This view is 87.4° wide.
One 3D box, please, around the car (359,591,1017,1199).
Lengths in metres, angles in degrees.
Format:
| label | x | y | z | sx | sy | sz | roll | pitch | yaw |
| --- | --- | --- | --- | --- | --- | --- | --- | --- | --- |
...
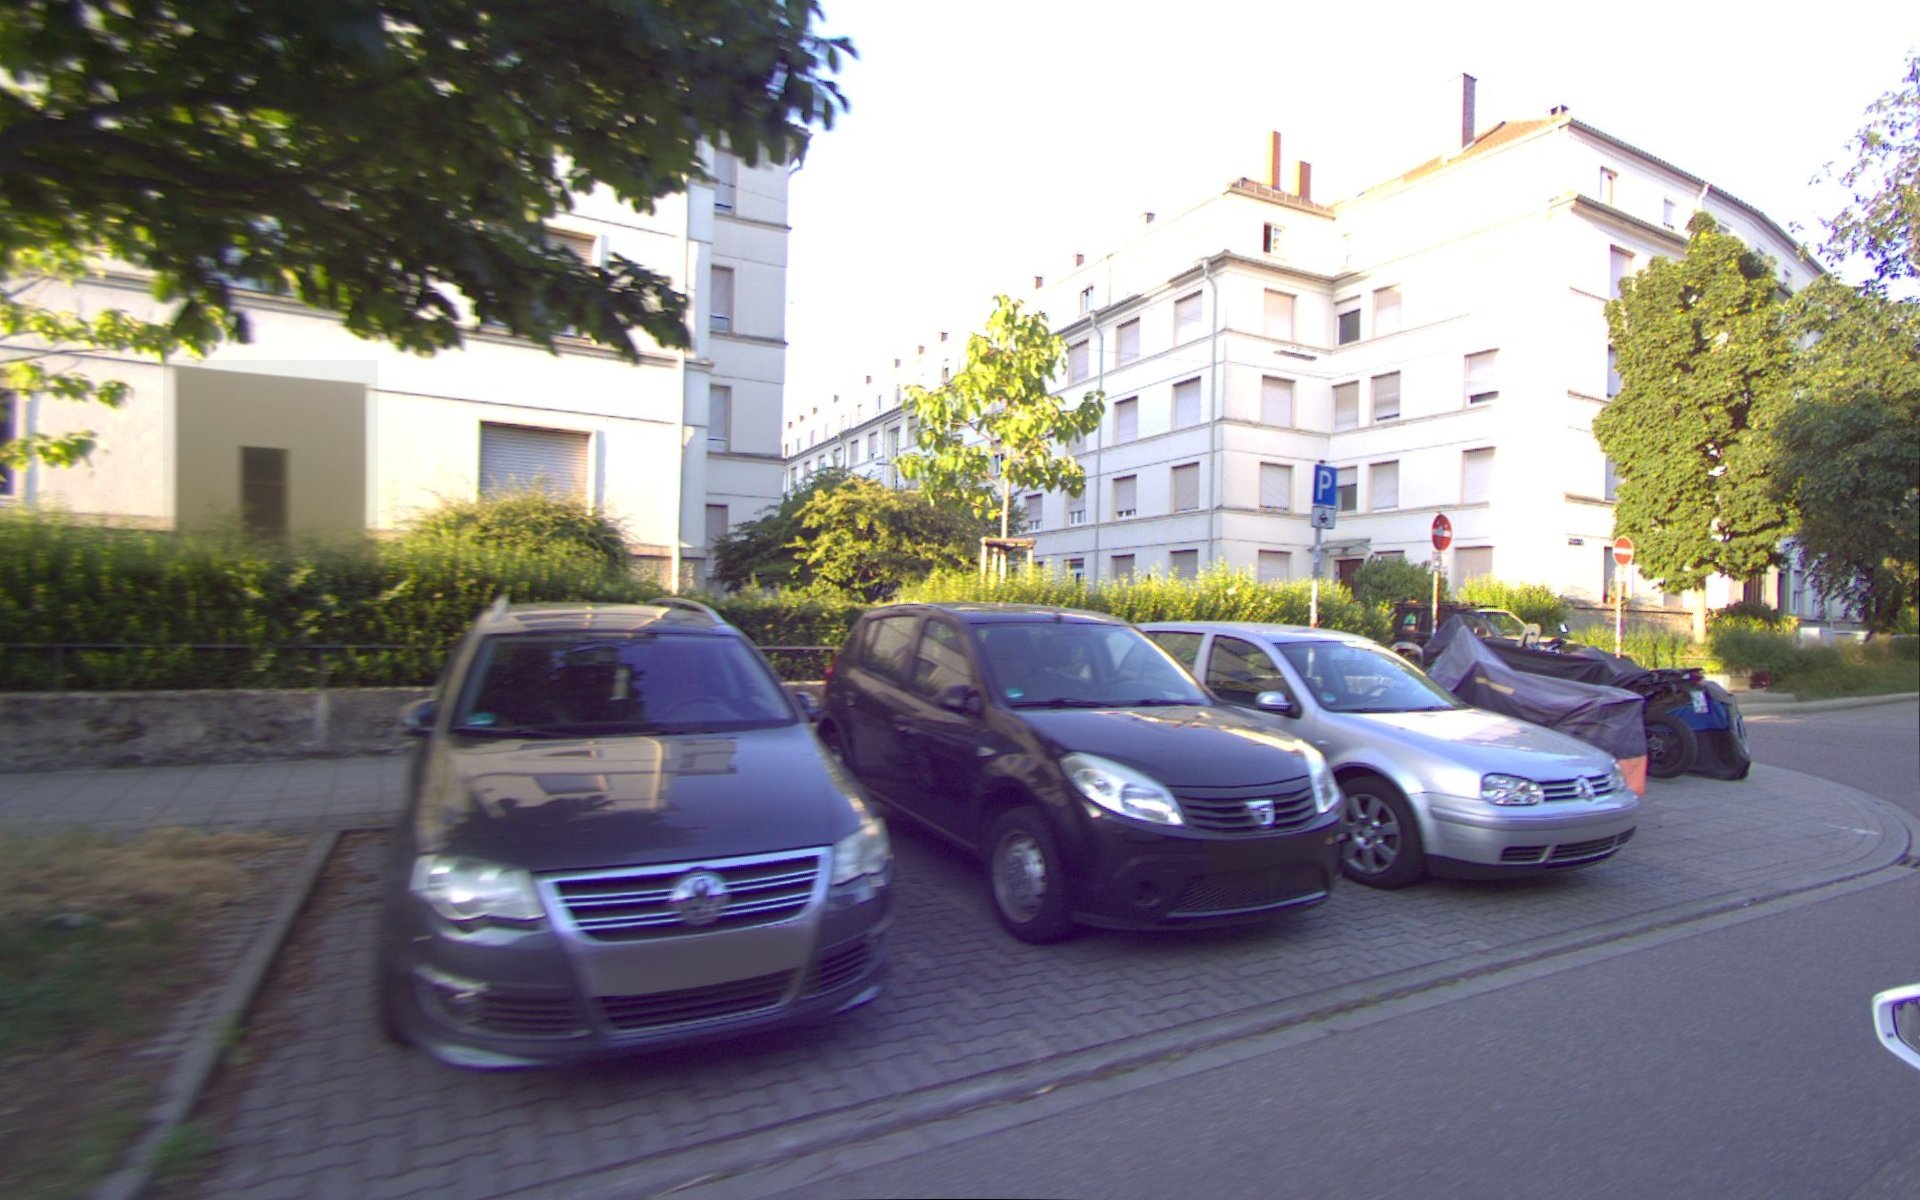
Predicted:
| label | x | y | z | sx | sy | sz | roll | pitch | yaw |
| --- | --- | --- | --- | --- | --- | --- | --- | --- | --- |
| car | -1.594 | 0.746 | 4.837 | 1.827 | 1.424 | 4.311 | 2 | 1 | -26 |

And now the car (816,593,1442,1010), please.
| label | x | y | z | sx | sy | sz | roll | pitch | yaw |
| --- | --- | --- | --- | --- | --- | --- | --- | --- | --- |
| car | 0.584 | 0.806 | 6.044 | 1.706 | 1.604 | 3.973 | 2 | -1 | -26 |

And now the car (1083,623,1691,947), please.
| label | x | y | z | sx | sy | sz | roll | pitch | yaw |
| --- | --- | --- | --- | --- | --- | --- | --- | --- | --- |
| car | 2.584 | 0.974 | 6.986 | 1.668 | 1.526 | 3.701 | 2 | -1 | -26 |

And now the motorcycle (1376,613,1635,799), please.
| label | x | y | z | sx | sy | sz | roll | pitch | yaw |
| --- | --- | --- | --- | --- | --- | --- | --- | --- | --- |
| motorcycle | 5.300 | 0.949 | 9.962 | 0.763 | 1.603 | 2.224 | 2 | -1 | -25 |

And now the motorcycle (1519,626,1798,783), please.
| label | x | y | z | sx | sy | sz | roll | pitch | yaw |
| --- | --- | --- | --- | --- | --- | --- | --- | --- | --- |
| motorcycle | 7.489 | 1.051 | 10.945 | 0.869 | 1.455 | 2.375 | 2 | -1 | -25 |

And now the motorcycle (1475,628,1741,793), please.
| label | x | y | z | sx | sy | sz | roll | pitch | yaw |
| --- | --- | --- | --- | --- | --- | --- | --- | --- | --- |
| motorcycle | 6.563 | 1.047 | 10.340 | 0.763 | 1.455 | 2.224 | 2 | -1 | -25 |

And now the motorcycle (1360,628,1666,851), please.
| label | x | y | z | sx | sy | sz | roll | pitch | yaw |
| --- | --- | --- | --- | --- | --- | --- | --- | --- | --- |
| motorcycle | 4.210 | 0.977 | 7.827 | 0.714 | 1.455 | 1.974 | 2 | -1 | -33 |

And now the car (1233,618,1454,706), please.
| label | x | y | z | sx | sy | sz | roll | pitch | yaw |
| --- | --- | --- | --- | --- | --- | --- | --- | --- | --- |
| car | 7.375 | 1.141 | 19.636 | 1.807 | 1.483 | 3.748 | 2 | -1 | -29 |

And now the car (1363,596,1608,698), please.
| label | x | y | z | sx | sy | sz | roll | pitch | yaw |
| --- | --- | --- | --- | --- | --- | --- | --- | --- | --- |
| car | 11.638 | 0.969 | 22.594 | 1.976 | 2.040 | 4.557 | 2 | -1 | -29 |
